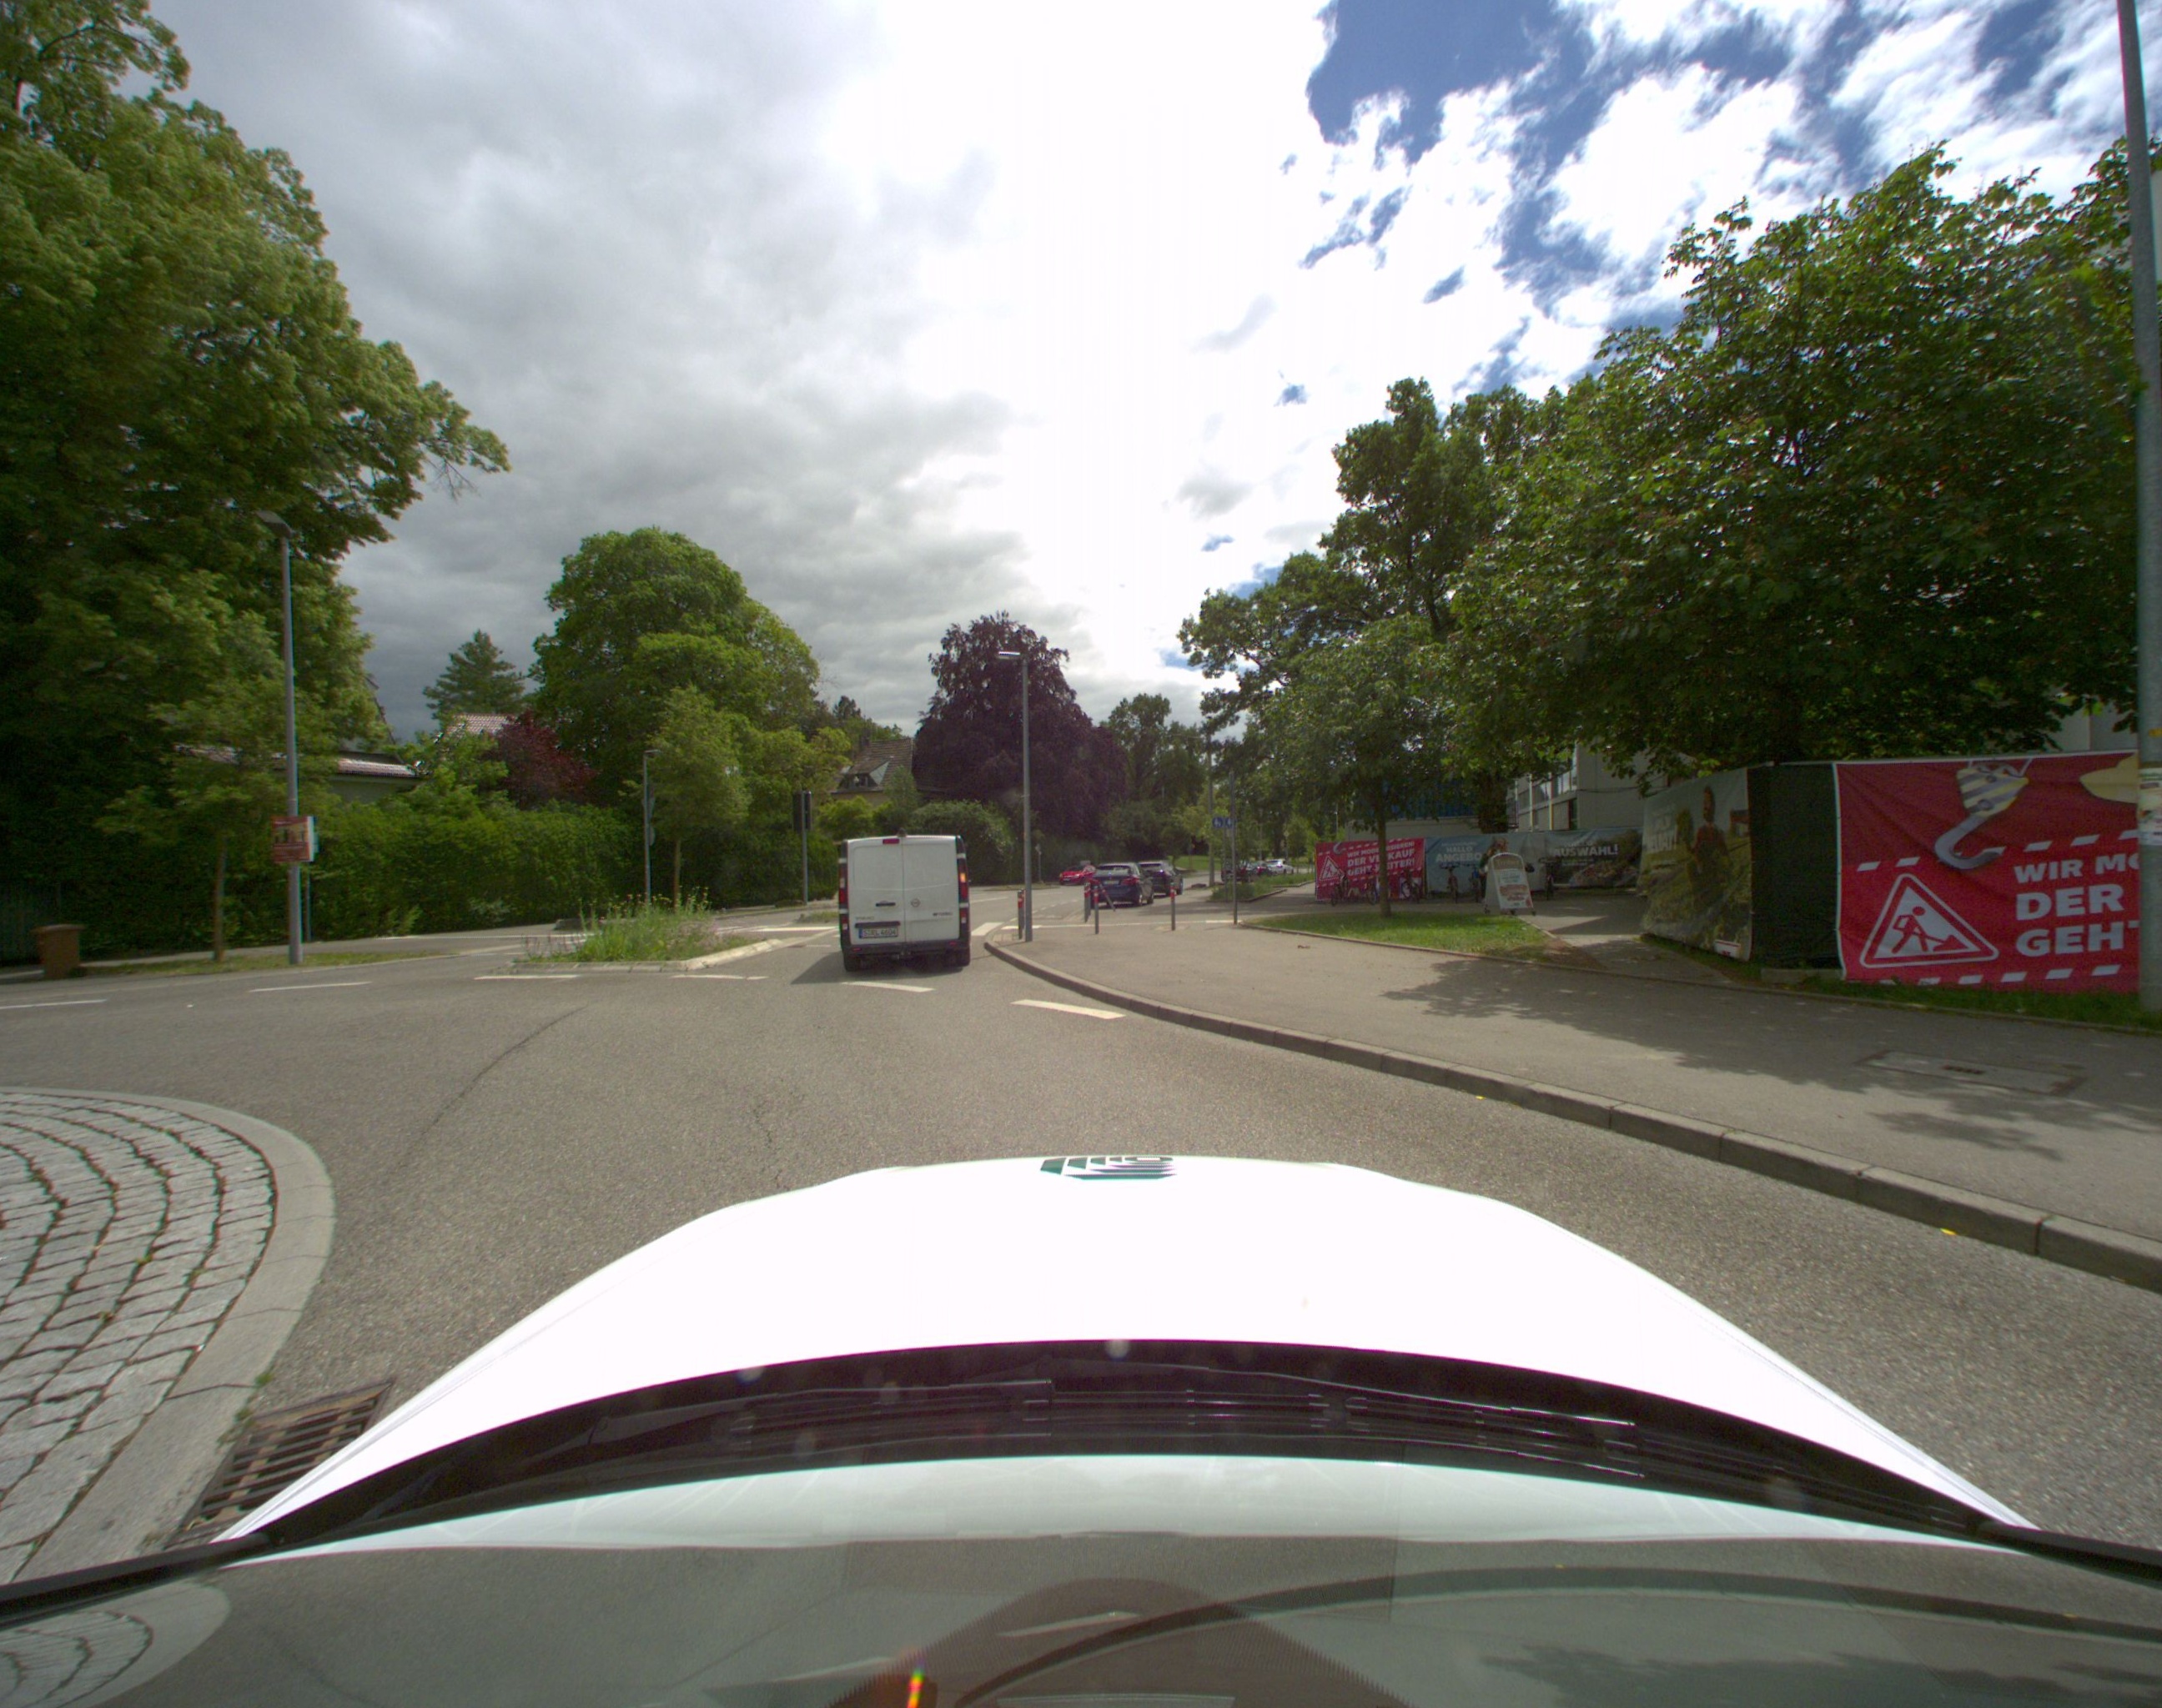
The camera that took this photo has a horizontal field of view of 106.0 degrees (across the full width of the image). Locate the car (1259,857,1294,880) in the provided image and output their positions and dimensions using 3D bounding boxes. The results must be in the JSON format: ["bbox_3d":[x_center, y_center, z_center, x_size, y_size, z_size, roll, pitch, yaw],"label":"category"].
[{"bbox_3d":[15.450,1.132,64.123,1.721,1.616,4.412,-4,-2,26],"label":"car"}]

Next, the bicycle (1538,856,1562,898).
[{"bbox_3d":[13.581,0.652,23.613,0.523,1.155,1.925,-1,-1,28],"label":"bicycle"}]

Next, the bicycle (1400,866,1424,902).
[{"bbox_3d":[10.161,0.899,25.060,0.515,1.041,1.809,-2,-1,18],"label":"bicycle"}]

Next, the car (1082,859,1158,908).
[{"bbox_3d":[1.505,1.017,29.557,1.903,1.578,4.445,-3,-1,13],"label":"car"}]

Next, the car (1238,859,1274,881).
[{"bbox_3d":[12.732,1.113,59.153,1.554,1.493,4.023,-2,-1,26],"label":"car"}]

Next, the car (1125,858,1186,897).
[{"bbox_3d":[3.519,1.020,37.440,1.864,1.621,4.866,-3,-1,16],"label":"car"}]

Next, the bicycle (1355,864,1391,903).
[{"bbox_3d":[9.191,0.915,25.615,0.495,1.155,1.784,-1,-1,39],"label":"bicycle"}]

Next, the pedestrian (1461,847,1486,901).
[{"bbox_3d":[11.485,0.578,23.841,0.619,1.567,0.498,-1,-1,25],"label":"pedestrian"}]

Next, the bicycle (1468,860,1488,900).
[{"bbox_3d":[11.812,0.758,24.249,0.434,1.155,1.777,-1,-1,23],"label":"bicycle"}]

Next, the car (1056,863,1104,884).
[{"bbox_3d":[-0.020,1.392,58.549,1.645,1.378,4.592,0,0,26],"label":"car"}]

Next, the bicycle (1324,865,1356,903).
[{"bbox_3d":[8.237,0.930,25.842,0.445,1.155,1.802,-1,-1,35],"label":"bicycle"}]

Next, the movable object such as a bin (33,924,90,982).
[{"bbox_3d":[-17.591,1.705,14.061,0.439,0.935,0.411,-2,-1,-5],"label":"movable object such as a bin"}]

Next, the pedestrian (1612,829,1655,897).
[{"bbox_3d":[14.642,0.237,21.591,0.739,1.757,0.628,-4,-2,24],"label":"pedestrian"}]

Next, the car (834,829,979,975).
[{"bbox_3d":[-2.904,0.696,13.592,1.940,1.961,4.812,-1,-1,-12],"label":"car"}]

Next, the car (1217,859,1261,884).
[{"bbox_3d":[10.643,1.127,54.548,1.749,1.477,4.963,-4,-2,23],"label":"car"}]

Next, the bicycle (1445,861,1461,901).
[{"bbox_3d":[11.211,0.786,24.547,0.421,1.155,1.671,-1,-1,25],"label":"bicycle"}]
